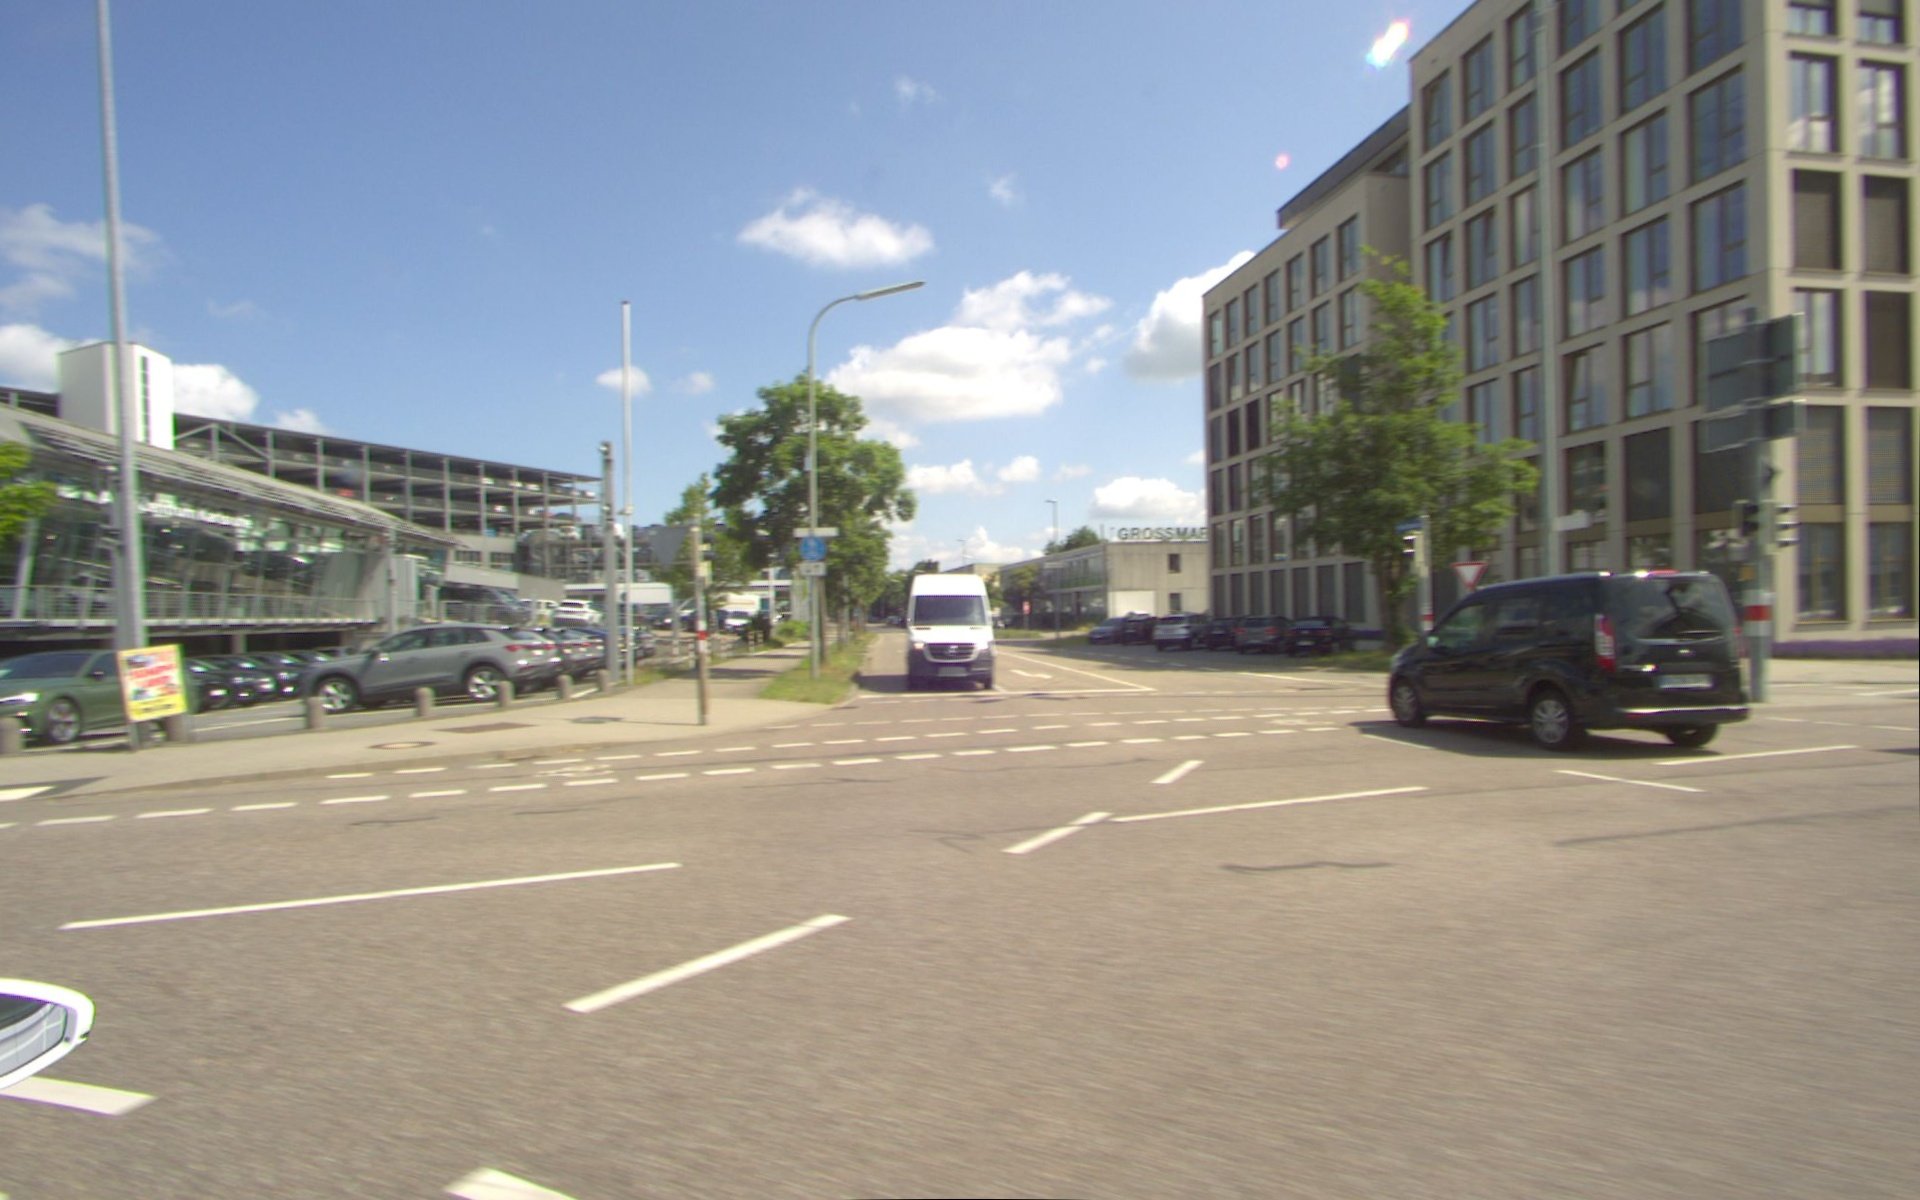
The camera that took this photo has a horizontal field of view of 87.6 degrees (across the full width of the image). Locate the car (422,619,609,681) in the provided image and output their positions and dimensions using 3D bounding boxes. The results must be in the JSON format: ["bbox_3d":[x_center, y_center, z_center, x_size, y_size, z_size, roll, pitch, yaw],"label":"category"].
[{"bbox_3d":[-12.533,1.409,28.493,4.503,1.699,1.907,0,-2,-9],"label":"car"}]

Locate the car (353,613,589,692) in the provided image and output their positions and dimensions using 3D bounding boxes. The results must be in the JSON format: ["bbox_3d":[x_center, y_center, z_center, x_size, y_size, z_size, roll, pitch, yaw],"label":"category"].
[{"bbox_3d":[-11.125,1.197,23.115,4.503,1.699,1.907,0,-2,-9],"label":"car"}]

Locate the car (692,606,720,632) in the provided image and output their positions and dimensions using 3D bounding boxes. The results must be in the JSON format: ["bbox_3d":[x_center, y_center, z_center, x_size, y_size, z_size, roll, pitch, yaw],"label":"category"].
[{"bbox_3d":[-16.206,1.210,63.993,1.537,1.571,3.601,0,-2,-11],"label":"car"}]

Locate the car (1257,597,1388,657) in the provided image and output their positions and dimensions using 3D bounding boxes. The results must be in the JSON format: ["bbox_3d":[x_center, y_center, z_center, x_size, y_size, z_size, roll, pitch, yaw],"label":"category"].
[{"bbox_3d":[12.881,0.970,35.644,3.927,2.039,1.998,1,-2,-14],"label":"car"}]

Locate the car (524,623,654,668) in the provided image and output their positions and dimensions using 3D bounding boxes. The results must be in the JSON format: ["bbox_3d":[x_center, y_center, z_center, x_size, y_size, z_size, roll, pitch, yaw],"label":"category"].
[{"bbox_3d":[-14.472,1.780,39.317,4.503,1.699,1.907,0,-2,-9],"label":"car"}]

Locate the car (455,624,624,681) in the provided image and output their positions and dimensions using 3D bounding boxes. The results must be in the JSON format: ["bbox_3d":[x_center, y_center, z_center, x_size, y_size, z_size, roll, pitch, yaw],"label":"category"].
[{"bbox_3d":[-13.006,1.617,31.220,4.503,1.699,1.907,0,-2,-9],"label":"car"}]

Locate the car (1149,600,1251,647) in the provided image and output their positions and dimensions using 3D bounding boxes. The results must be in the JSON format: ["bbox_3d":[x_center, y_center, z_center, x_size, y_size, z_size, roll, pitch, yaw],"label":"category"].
[{"bbox_3d":[10.628,1.062,44.510,3.927,2.039,1.998,1,-2,-14],"label":"car"}]

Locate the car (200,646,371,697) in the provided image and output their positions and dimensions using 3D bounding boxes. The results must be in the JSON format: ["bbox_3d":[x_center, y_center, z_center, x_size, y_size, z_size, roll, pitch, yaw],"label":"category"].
[{"bbox_3d":[-23.350,2.460,34.823,4.503,1.699,1.907,0,-2,-9],"label":"car"}]

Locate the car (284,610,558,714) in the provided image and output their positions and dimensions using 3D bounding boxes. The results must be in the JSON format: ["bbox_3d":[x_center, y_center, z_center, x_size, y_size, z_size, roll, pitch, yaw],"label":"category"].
[{"bbox_3d":[-10.949,1.240,20.665,4.503,1.699,1.907,-4,-1,-9],"label":"car"}]

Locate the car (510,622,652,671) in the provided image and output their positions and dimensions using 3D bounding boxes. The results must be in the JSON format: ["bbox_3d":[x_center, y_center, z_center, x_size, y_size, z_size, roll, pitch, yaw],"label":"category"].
[{"bbox_3d":[-13.719,1.690,36.498,4.503,1.699,1.907,0,-2,-9],"label":"car"}]

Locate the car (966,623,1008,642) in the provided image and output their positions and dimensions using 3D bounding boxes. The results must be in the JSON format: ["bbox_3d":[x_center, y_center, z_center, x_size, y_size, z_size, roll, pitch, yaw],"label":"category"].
[{"bbox_3d":[2.527,3.120,95.675,3.922,1.772,2.001,0,-2,-1],"label":"car"}]

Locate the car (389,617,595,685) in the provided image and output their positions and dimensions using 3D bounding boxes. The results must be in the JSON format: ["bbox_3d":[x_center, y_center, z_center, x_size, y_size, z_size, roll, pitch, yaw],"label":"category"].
[{"bbox_3d":[-12.060,1.316,26.107,4.503,1.699,1.907,0,-2,-9],"label":"car"}]

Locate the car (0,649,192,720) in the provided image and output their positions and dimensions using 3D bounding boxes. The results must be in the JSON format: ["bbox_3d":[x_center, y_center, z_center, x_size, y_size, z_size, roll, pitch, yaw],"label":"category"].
[{"bbox_3d":[-21.772,2.060,24.200,4.667,1.529,1.986,-1,-4,-12],"label":"car"}]

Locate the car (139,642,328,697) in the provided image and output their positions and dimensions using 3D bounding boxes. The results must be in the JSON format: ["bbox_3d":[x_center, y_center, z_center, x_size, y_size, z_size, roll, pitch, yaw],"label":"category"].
[{"bbox_3d":[-23.242,2.199,32.203,4.503,1.699,1.907,0,-2,-9],"label":"car"}]

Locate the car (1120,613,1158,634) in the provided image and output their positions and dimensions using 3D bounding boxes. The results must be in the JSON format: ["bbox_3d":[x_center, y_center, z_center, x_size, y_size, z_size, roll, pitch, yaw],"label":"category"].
[{"bbox_3d":[15.259,2.018,85.554,1.963,1.705,3.999,0,-2,-11],"label":"car"}]

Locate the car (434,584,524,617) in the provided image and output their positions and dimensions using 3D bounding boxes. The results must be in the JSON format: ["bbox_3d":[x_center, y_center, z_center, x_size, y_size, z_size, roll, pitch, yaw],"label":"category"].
[{"bbox_3d":[-27.693,0.056,57.758,4.373,1.824,1.764,0,-2,-12],"label":"car"}]

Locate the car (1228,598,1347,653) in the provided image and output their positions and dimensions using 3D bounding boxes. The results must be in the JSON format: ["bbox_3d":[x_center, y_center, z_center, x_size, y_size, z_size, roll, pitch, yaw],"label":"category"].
[{"bbox_3d":[12.734,1.021,39.007,3.927,2.039,1.998,1,-2,-14],"label":"car"}]

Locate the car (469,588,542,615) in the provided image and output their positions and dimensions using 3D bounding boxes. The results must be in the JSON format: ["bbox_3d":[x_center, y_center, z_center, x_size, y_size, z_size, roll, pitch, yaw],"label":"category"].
[{"bbox_3d":[-28.466,0.118,62.842,3.930,1.571,1.762,1,-2,-18],"label":"car"}]

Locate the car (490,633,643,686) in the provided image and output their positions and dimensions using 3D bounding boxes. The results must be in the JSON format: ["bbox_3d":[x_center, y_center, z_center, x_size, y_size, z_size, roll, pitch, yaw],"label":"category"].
[{"bbox_3d":[-13.228,1.996,33.944,4.503,1.699,1.907,0,-2,-9],"label":"car"}]

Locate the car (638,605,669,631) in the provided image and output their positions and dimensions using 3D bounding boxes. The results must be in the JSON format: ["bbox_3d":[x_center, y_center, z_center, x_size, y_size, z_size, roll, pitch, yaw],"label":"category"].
[{"bbox_3d":[-19.561,1.194,64.071,1.537,1.571,3.601,0,-2,-11],"label":"car"}]

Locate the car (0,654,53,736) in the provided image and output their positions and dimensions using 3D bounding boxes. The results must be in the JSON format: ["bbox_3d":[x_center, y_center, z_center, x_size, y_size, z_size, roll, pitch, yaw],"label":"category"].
[{"bbox_3d":[-16.430,1.511,15.152,1.871,1.313,4.589,0,-2,-11],"label":"car"}]

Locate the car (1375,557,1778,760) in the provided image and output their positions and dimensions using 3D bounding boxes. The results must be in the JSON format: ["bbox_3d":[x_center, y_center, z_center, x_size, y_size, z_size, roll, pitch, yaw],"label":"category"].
[{"bbox_3d":[6.803,0.619,11.648,1.795,1.929,3.999,0,-2,-9],"label":"car"}]

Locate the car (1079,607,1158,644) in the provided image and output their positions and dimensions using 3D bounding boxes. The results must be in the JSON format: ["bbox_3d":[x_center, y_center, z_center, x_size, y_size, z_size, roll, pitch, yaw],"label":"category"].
[{"bbox_3d":[8.950,1.459,56.561,3.927,2.039,1.998,1,-2,-14],"label":"car"}]

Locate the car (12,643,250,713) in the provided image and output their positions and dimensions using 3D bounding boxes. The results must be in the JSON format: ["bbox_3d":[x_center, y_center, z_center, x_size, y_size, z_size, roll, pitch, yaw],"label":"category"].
[{"bbox_3d":[-22.109,2.047,26.912,4.469,1.762,1.999,0,-2,-13],"label":"car"}]

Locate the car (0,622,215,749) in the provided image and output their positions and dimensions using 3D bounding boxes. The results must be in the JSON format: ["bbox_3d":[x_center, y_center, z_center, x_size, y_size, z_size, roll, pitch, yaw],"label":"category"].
[{"bbox_3d":[-13.880,1.230,15.542,1.871,1.699,4.589,0,-2,-11],"label":"car"}]

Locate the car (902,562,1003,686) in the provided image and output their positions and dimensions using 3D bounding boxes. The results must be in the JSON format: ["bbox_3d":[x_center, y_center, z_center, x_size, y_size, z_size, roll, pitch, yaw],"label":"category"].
[{"bbox_3d":[-0.356,0.665,24.813,2.098,2.639,6.867,0,-2,-4],"label":"car"}]

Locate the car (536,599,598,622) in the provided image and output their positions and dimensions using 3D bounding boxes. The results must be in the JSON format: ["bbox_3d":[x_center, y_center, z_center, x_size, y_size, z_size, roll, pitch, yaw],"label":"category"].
[{"bbox_3d":[-27.571,0.763,70.310,3.930,1.571,1.762,1,-2,-18],"label":"car"}]

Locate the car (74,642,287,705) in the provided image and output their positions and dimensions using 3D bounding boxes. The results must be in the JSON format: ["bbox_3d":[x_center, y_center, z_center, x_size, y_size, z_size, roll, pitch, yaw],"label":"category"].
[{"bbox_3d":[-22.648,2.102,29.300,4.469,1.762,1.999,0,-2,-13],"label":"car"}]

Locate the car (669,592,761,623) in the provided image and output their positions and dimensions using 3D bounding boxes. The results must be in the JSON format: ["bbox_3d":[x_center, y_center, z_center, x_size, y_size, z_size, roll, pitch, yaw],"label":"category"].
[{"bbox_3d":[-17.363,0.580,71.358,6.289,2.129,1.764,0,-2,-11],"label":"car"}]
